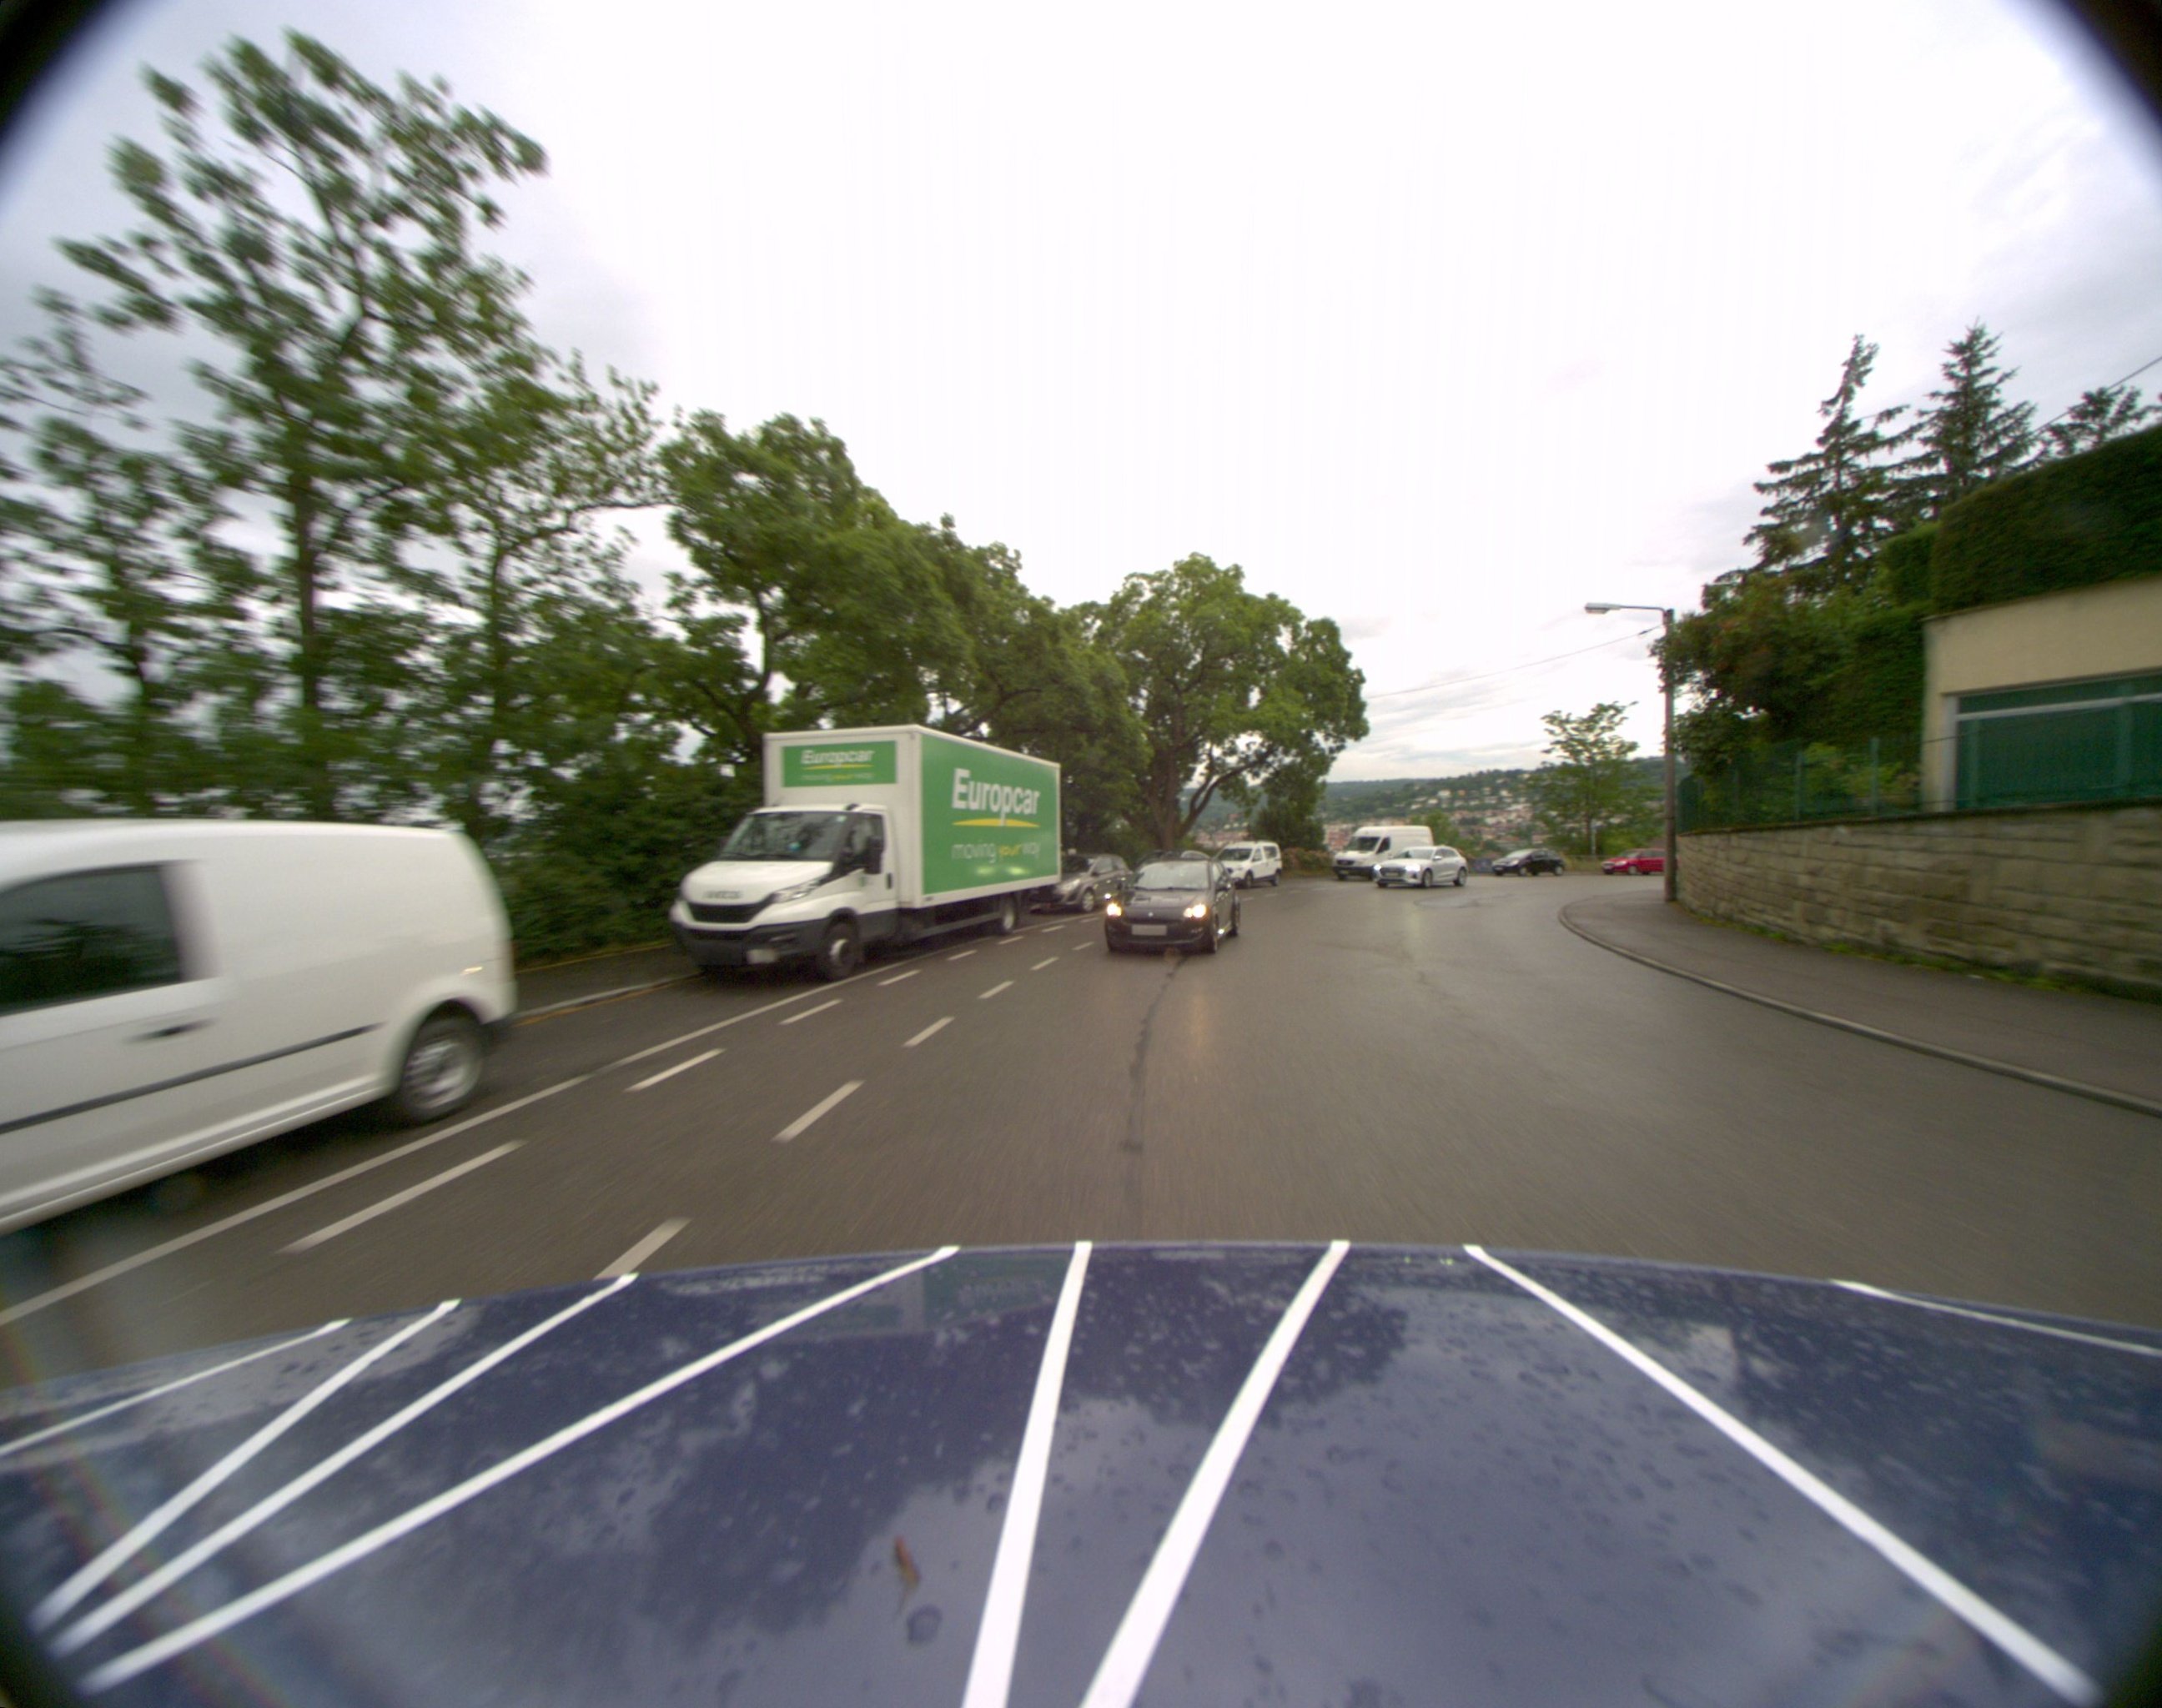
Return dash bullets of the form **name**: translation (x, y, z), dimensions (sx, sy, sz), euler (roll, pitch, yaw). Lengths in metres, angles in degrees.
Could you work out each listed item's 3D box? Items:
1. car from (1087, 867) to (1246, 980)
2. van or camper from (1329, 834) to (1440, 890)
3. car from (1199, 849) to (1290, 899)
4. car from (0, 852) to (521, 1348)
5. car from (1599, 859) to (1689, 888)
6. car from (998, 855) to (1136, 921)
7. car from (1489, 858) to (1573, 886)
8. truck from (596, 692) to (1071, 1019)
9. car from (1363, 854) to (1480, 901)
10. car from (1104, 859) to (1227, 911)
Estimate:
- **car**: translation (1.636, 1.003, 12.843), dimensions (1.781, 1.477, 4.411), euler (0, 0, 19)
- **van or camper**: translation (14.901, 0.317, 37.170), dimensions (5.898, 2.566, 2.068), euler (-1, 1, -34)
- **car**: translation (6.503, 0.741, 29.845), dimensions (1.747, 1.810, 4.433), euler (2, 1, 37)
- **car**: translation (-4.784, 0.888, 2.965), dimensions (1.864, 1.760, 4.379), euler (-1, 0, 1)
- **car**: translation (31.773, 1.101, 42.904), dimensions (4.216, 1.531, 1.624), euler (2, 0, -11)
- **car**: translation (-0.238, 0.778, 19.739), dimensions (1.734, 1.494, 4.143), euler (1, 0, 29)
- **car**: translation (24.536, 0.969, 41.447), dimensions (3.951, 1.435, 1.698), euler (2, -1, -18)
- **truck**: translation (-2.947, -0.006, 12.699), dimensions (2.776, 3.450, 8.945), euler (1, 1, 18)
- **car**: translation (13.605, 0.864, 30.226), dimensions (4.892, 1.698, 2.186), euler (0, 0, -38)
- **car**: translation (2.918, 0.944, 25.197), dimensions (1.860, 1.533, 4.905), euler (1, 0, 36)
